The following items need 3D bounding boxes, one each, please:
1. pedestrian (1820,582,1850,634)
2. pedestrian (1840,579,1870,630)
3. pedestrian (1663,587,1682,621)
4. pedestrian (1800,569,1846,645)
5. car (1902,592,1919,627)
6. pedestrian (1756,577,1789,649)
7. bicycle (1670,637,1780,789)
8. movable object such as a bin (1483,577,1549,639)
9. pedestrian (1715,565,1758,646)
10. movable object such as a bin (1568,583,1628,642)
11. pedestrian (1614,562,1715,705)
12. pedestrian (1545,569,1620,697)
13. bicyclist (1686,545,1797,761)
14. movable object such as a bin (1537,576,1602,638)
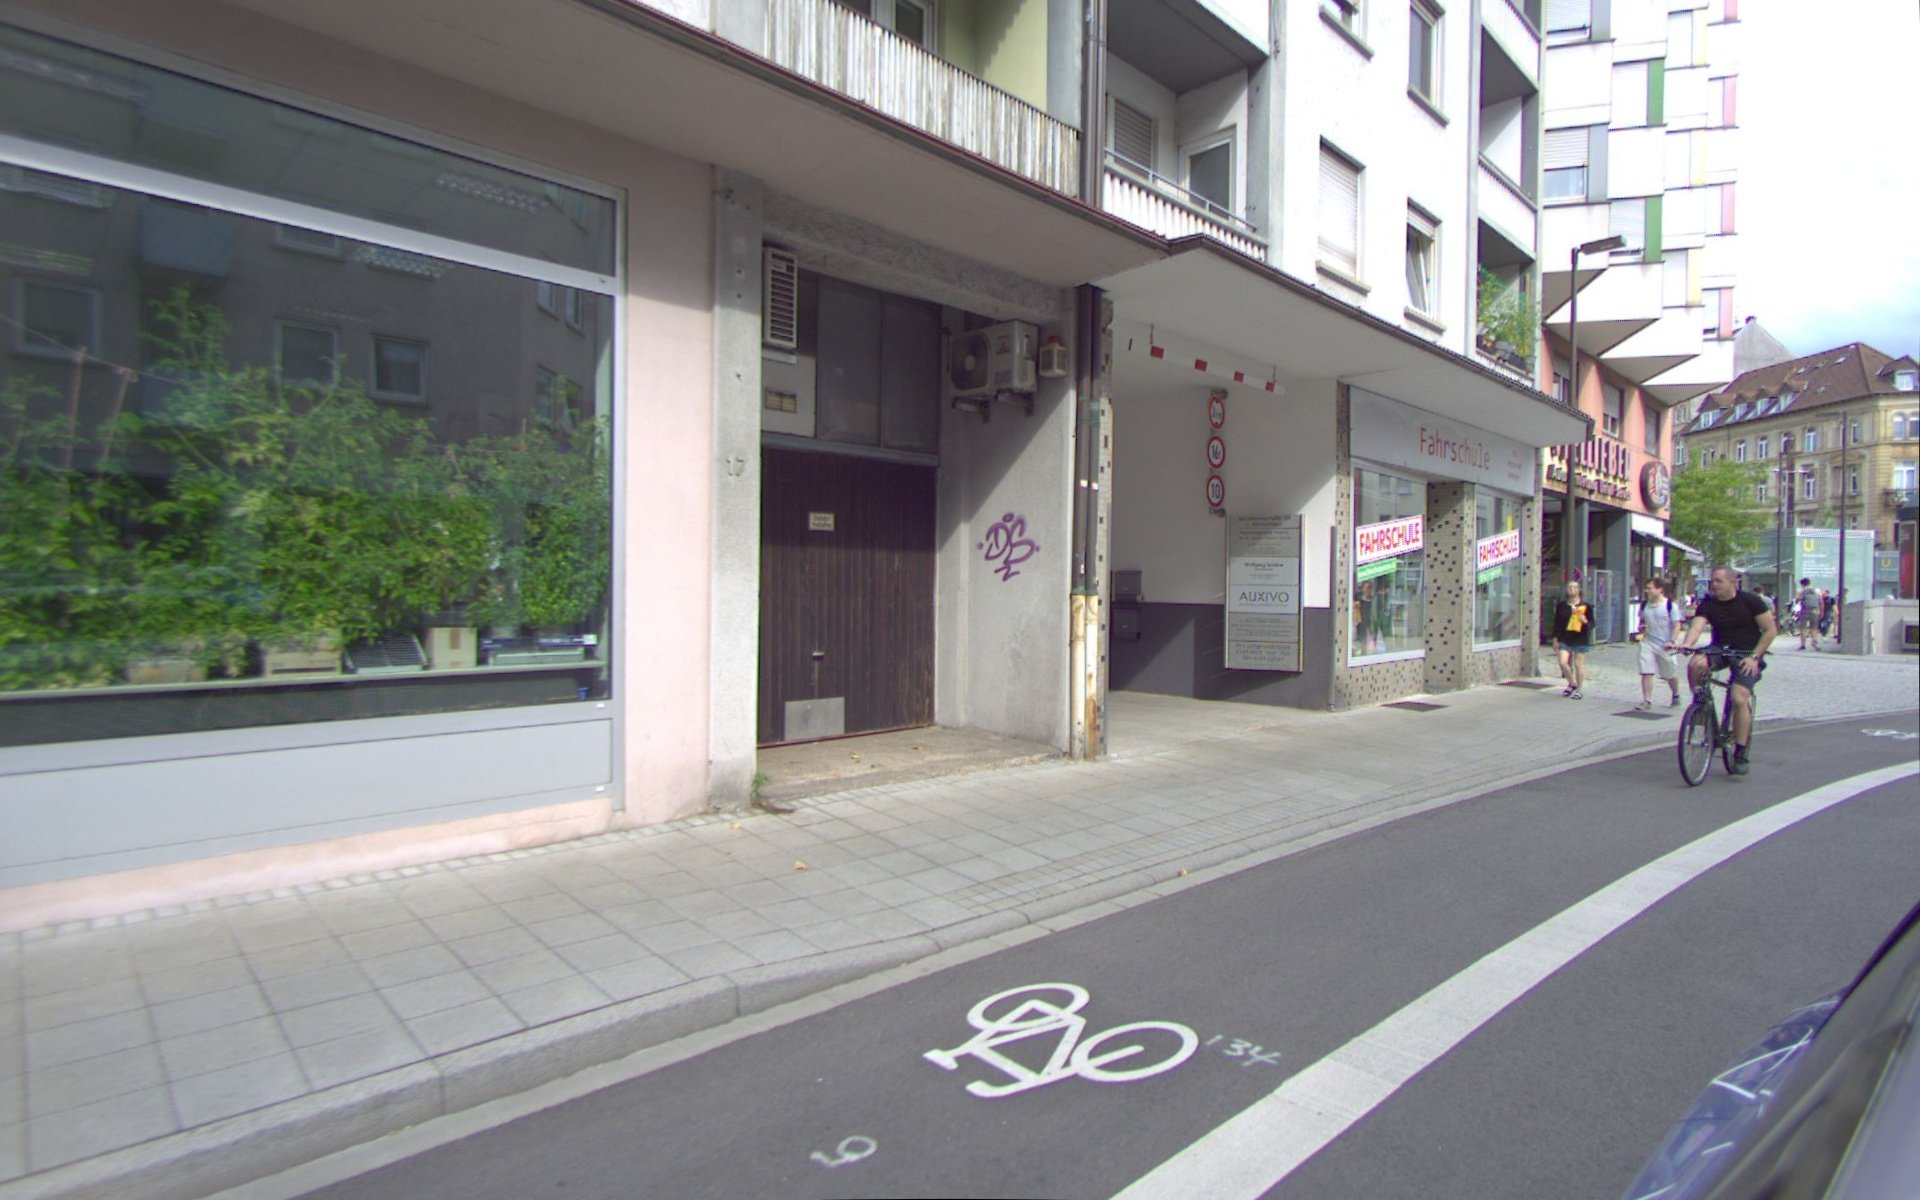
[{"bbox_3d":[32.521,0.295,37.622,0.573,1.890,0.549,2,1,-4],"label":"pedestrian"},{"bbox_3d":[33.233,0.161,37.580,0.573,1.890,0.491,2,1,-4],"label":"pedestrian"},{"bbox_3d":[35.253,0.214,50.073,0.431,1.662,0.678,0,1,1],"label":"pedestrian"},{"bbox_3d":[22.065,0.152,25.867,0.954,1.874,0.658,-1,4,-41],"label":"pedestrian"},{"bbox_3d":[43.528,0.467,43.438,1.963,1.530,4.602,-1,1,1],"label":"car"},{"bbox_3d":[19.663,0.295,24.490,0.580,1.693,0.473,0,3,-43],"label":"pedestrian"},{"bbox_3d":[6.604,0.907,8.701,1.982,1.136,0.406,1,-1,-43],"label":"bicycle"},{"bbox_3d":[14.415,0.187,26.237,1.178,1.534,1.194,0,1,-45],"label":"movable object such as a bin"},{"bbox_3d":[19.228,0.125,25.060,0.580,1.926,0.673,0,3,-43],"label":"pedestrian"},{"bbox_3d":[17.119,0.313,27.168,1.071,1.534,1.144,0,1,-45],"label":"movable object such as a bin"},{"bbox_3d":[9.267,0.429,13.325,0.843,1.771,0.753,2,3,-37],"label":"pedestrian"},{"bbox_3d":[8.695,0.427,14.132,0.605,1.688,0.929,5,4,44],"label":"pedestrian"},{"bbox_3d":[6.629,0.416,8.583,0.847,1.731,0.560,0,1,-40],"label":"bicyclist"},{"bbox_3d":[15.251,0.156,25.328,1.204,1.478,1.146,0,1,-45],"label":"movable object such as a bin"}]
